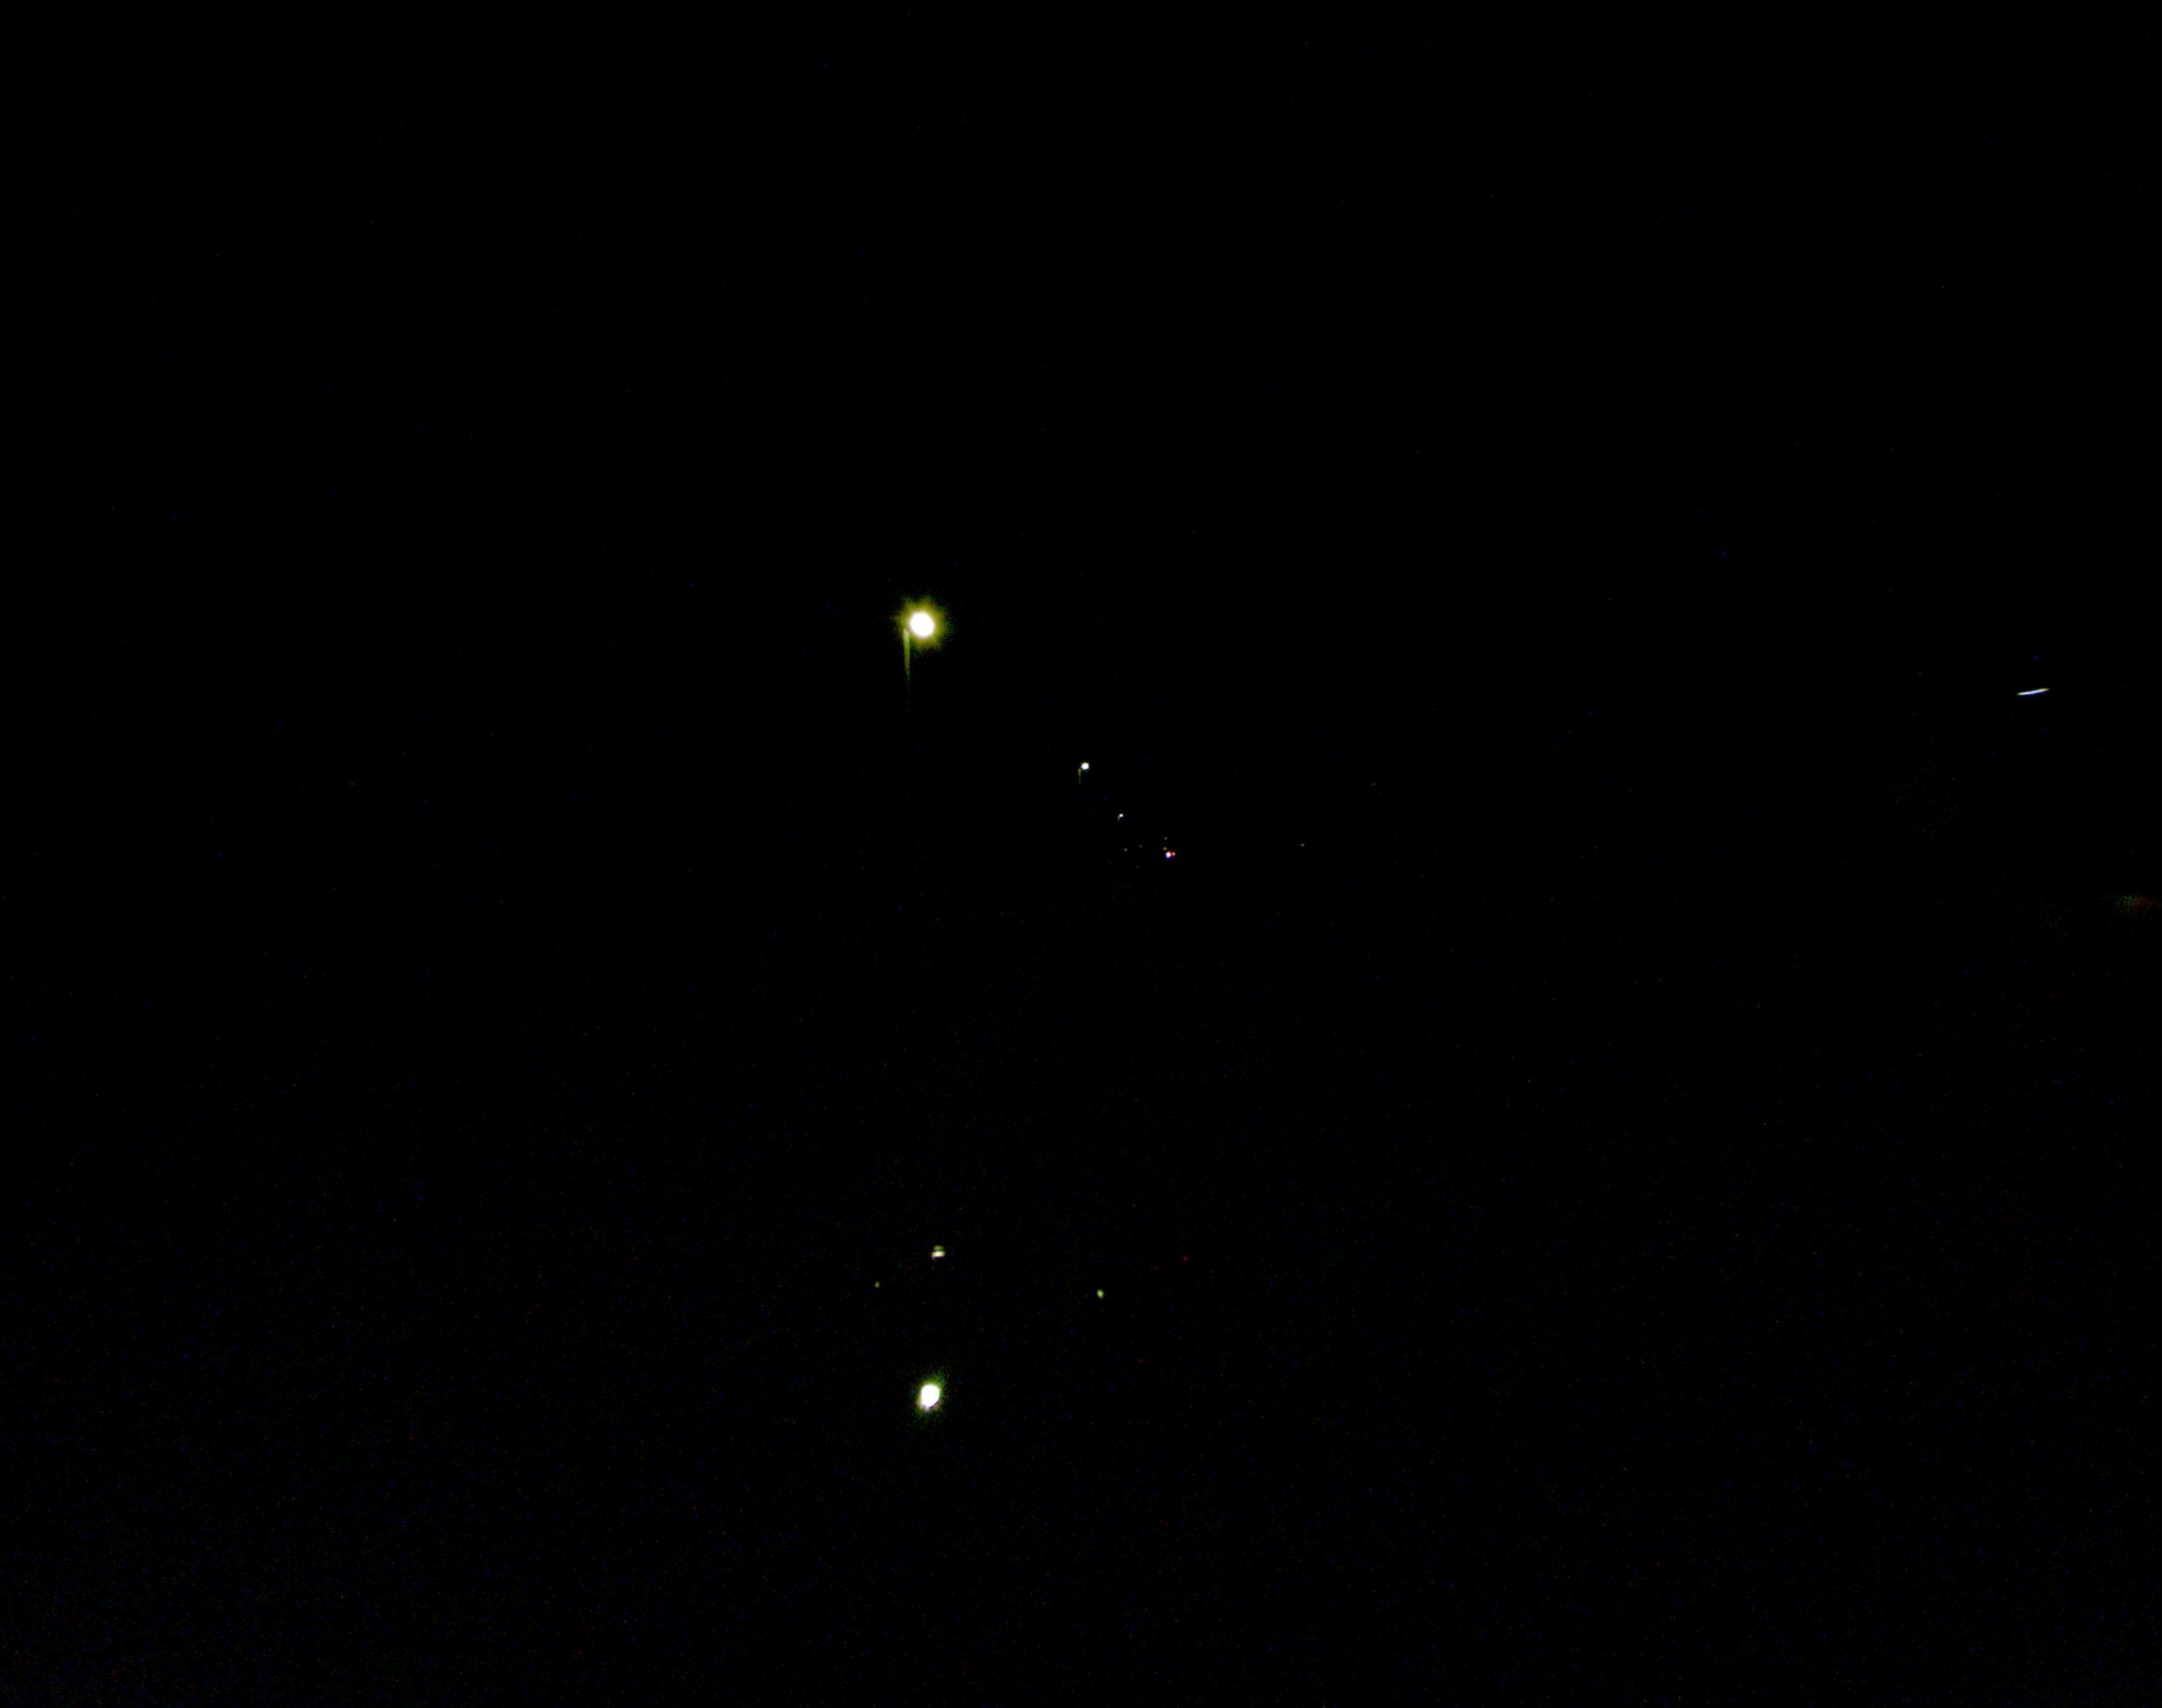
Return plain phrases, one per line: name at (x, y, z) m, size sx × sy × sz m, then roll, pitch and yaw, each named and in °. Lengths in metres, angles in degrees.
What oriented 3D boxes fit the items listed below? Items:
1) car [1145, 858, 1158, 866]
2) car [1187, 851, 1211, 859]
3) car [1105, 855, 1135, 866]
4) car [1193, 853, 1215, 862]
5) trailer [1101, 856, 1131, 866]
car at (13.481, 1.556, 145.138) m, size 1.754 × 1.460 × 4.008 m, roll -2°, pitch -1°, yaw -3°
car at (23.117, 0.234, 149.196) m, size 4.326 × 1.552 × 2.028 m, roll -1°, pitch -1°, yaw -9°
car at (4.531, 0.740, 88.697) m, size 3.401 × 1.224 × 1.724 m, roll 1°, pitch -1°, yaw -4°
car at (23.690, 0.737, 146.708) m, size 3.997 × 1.608 × 2.001 m, roll -1°, pitch -1°, yaw 1°
trailer at (4.250, 0.833, 93.015) m, size 3.441 × 0.996 × 1.954 m, roll -4°, pitch 0°, yaw -2°
